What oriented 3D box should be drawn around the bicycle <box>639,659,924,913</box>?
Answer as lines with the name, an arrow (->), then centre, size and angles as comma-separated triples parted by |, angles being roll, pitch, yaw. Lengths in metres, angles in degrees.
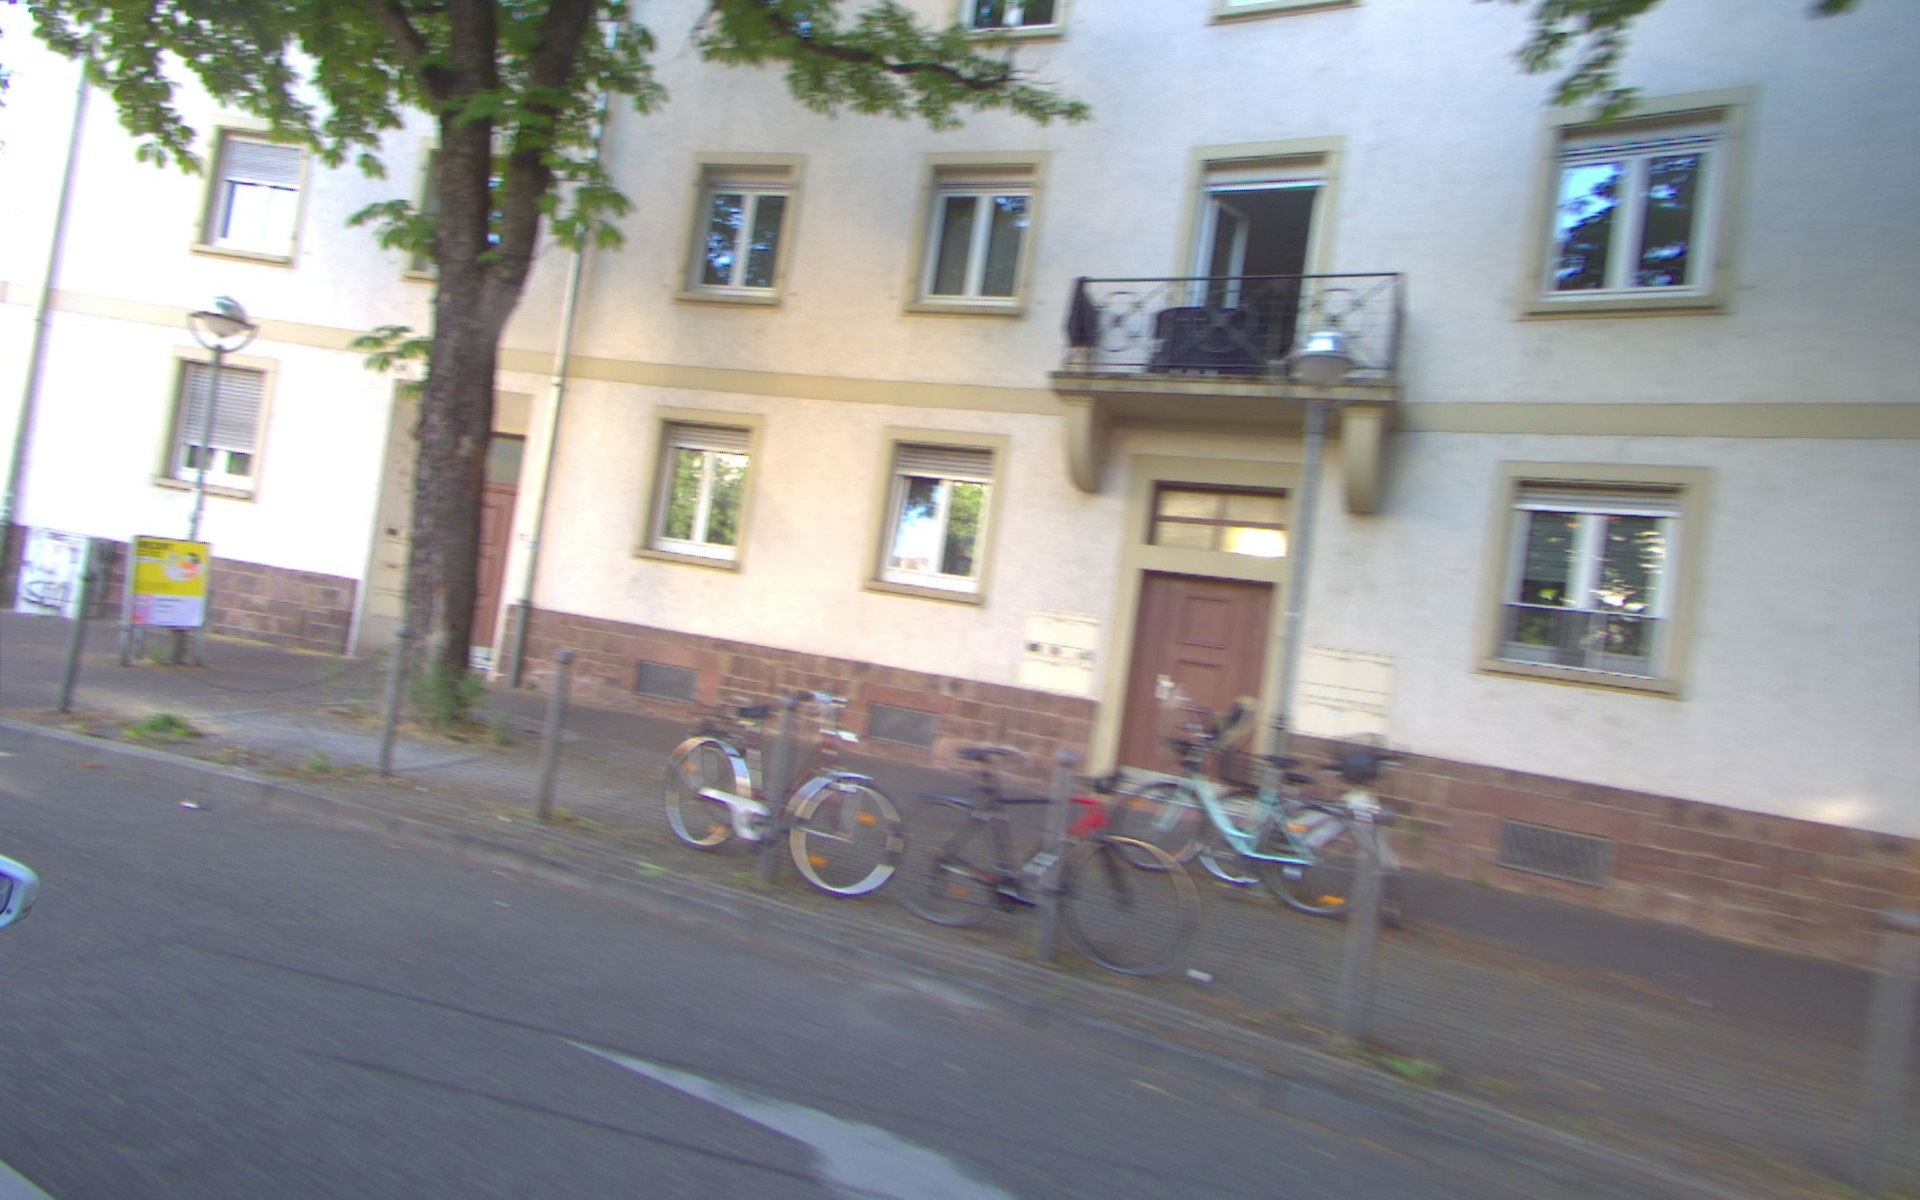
bicycle -> -1.060, 0.994, 5.773 | 1.609, 1.077, 0.481 | 8, 1, 33

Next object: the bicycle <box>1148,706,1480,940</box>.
bicycle -> 2.392, 1.454, 6.928 | 1.936, 1.119, 0.668 | 7, -3, 36

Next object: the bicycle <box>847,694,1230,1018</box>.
bicycle -> 0.343, 1.153, 4.953 | 1.711, 1.121, 0.526 | 8, 1, 31

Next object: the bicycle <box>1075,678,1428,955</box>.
bicycle -> 1.843, 1.296, 6.507 | 1.935, 1.292, 0.718 | 7, -1, 35
